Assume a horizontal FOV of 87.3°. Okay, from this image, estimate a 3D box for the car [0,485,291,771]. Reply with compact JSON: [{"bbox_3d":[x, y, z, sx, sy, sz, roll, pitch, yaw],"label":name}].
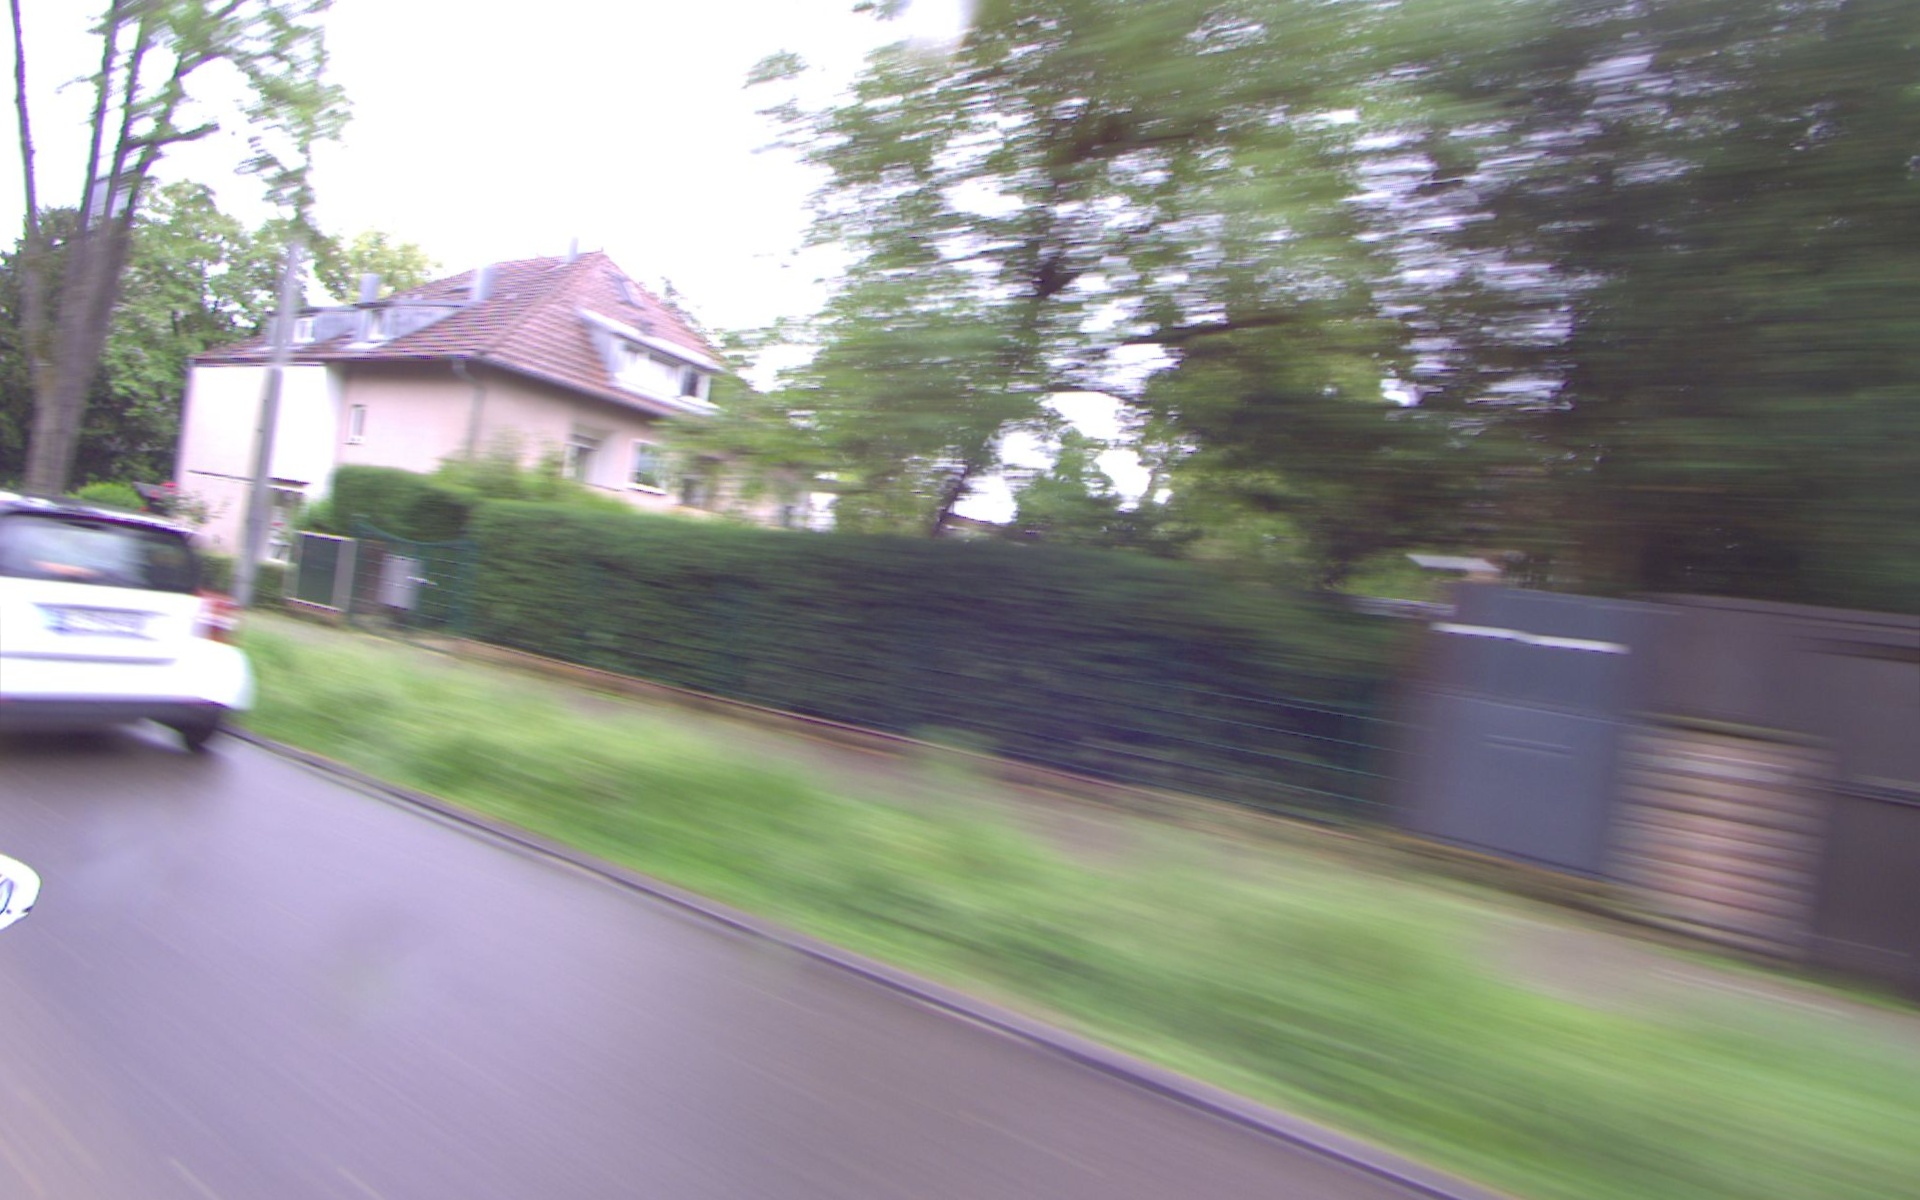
[{"bbox_3d":[-6.114,0.050,6.596,2.908,1.527,1.637,8,-2,31],"label":"car"}]
